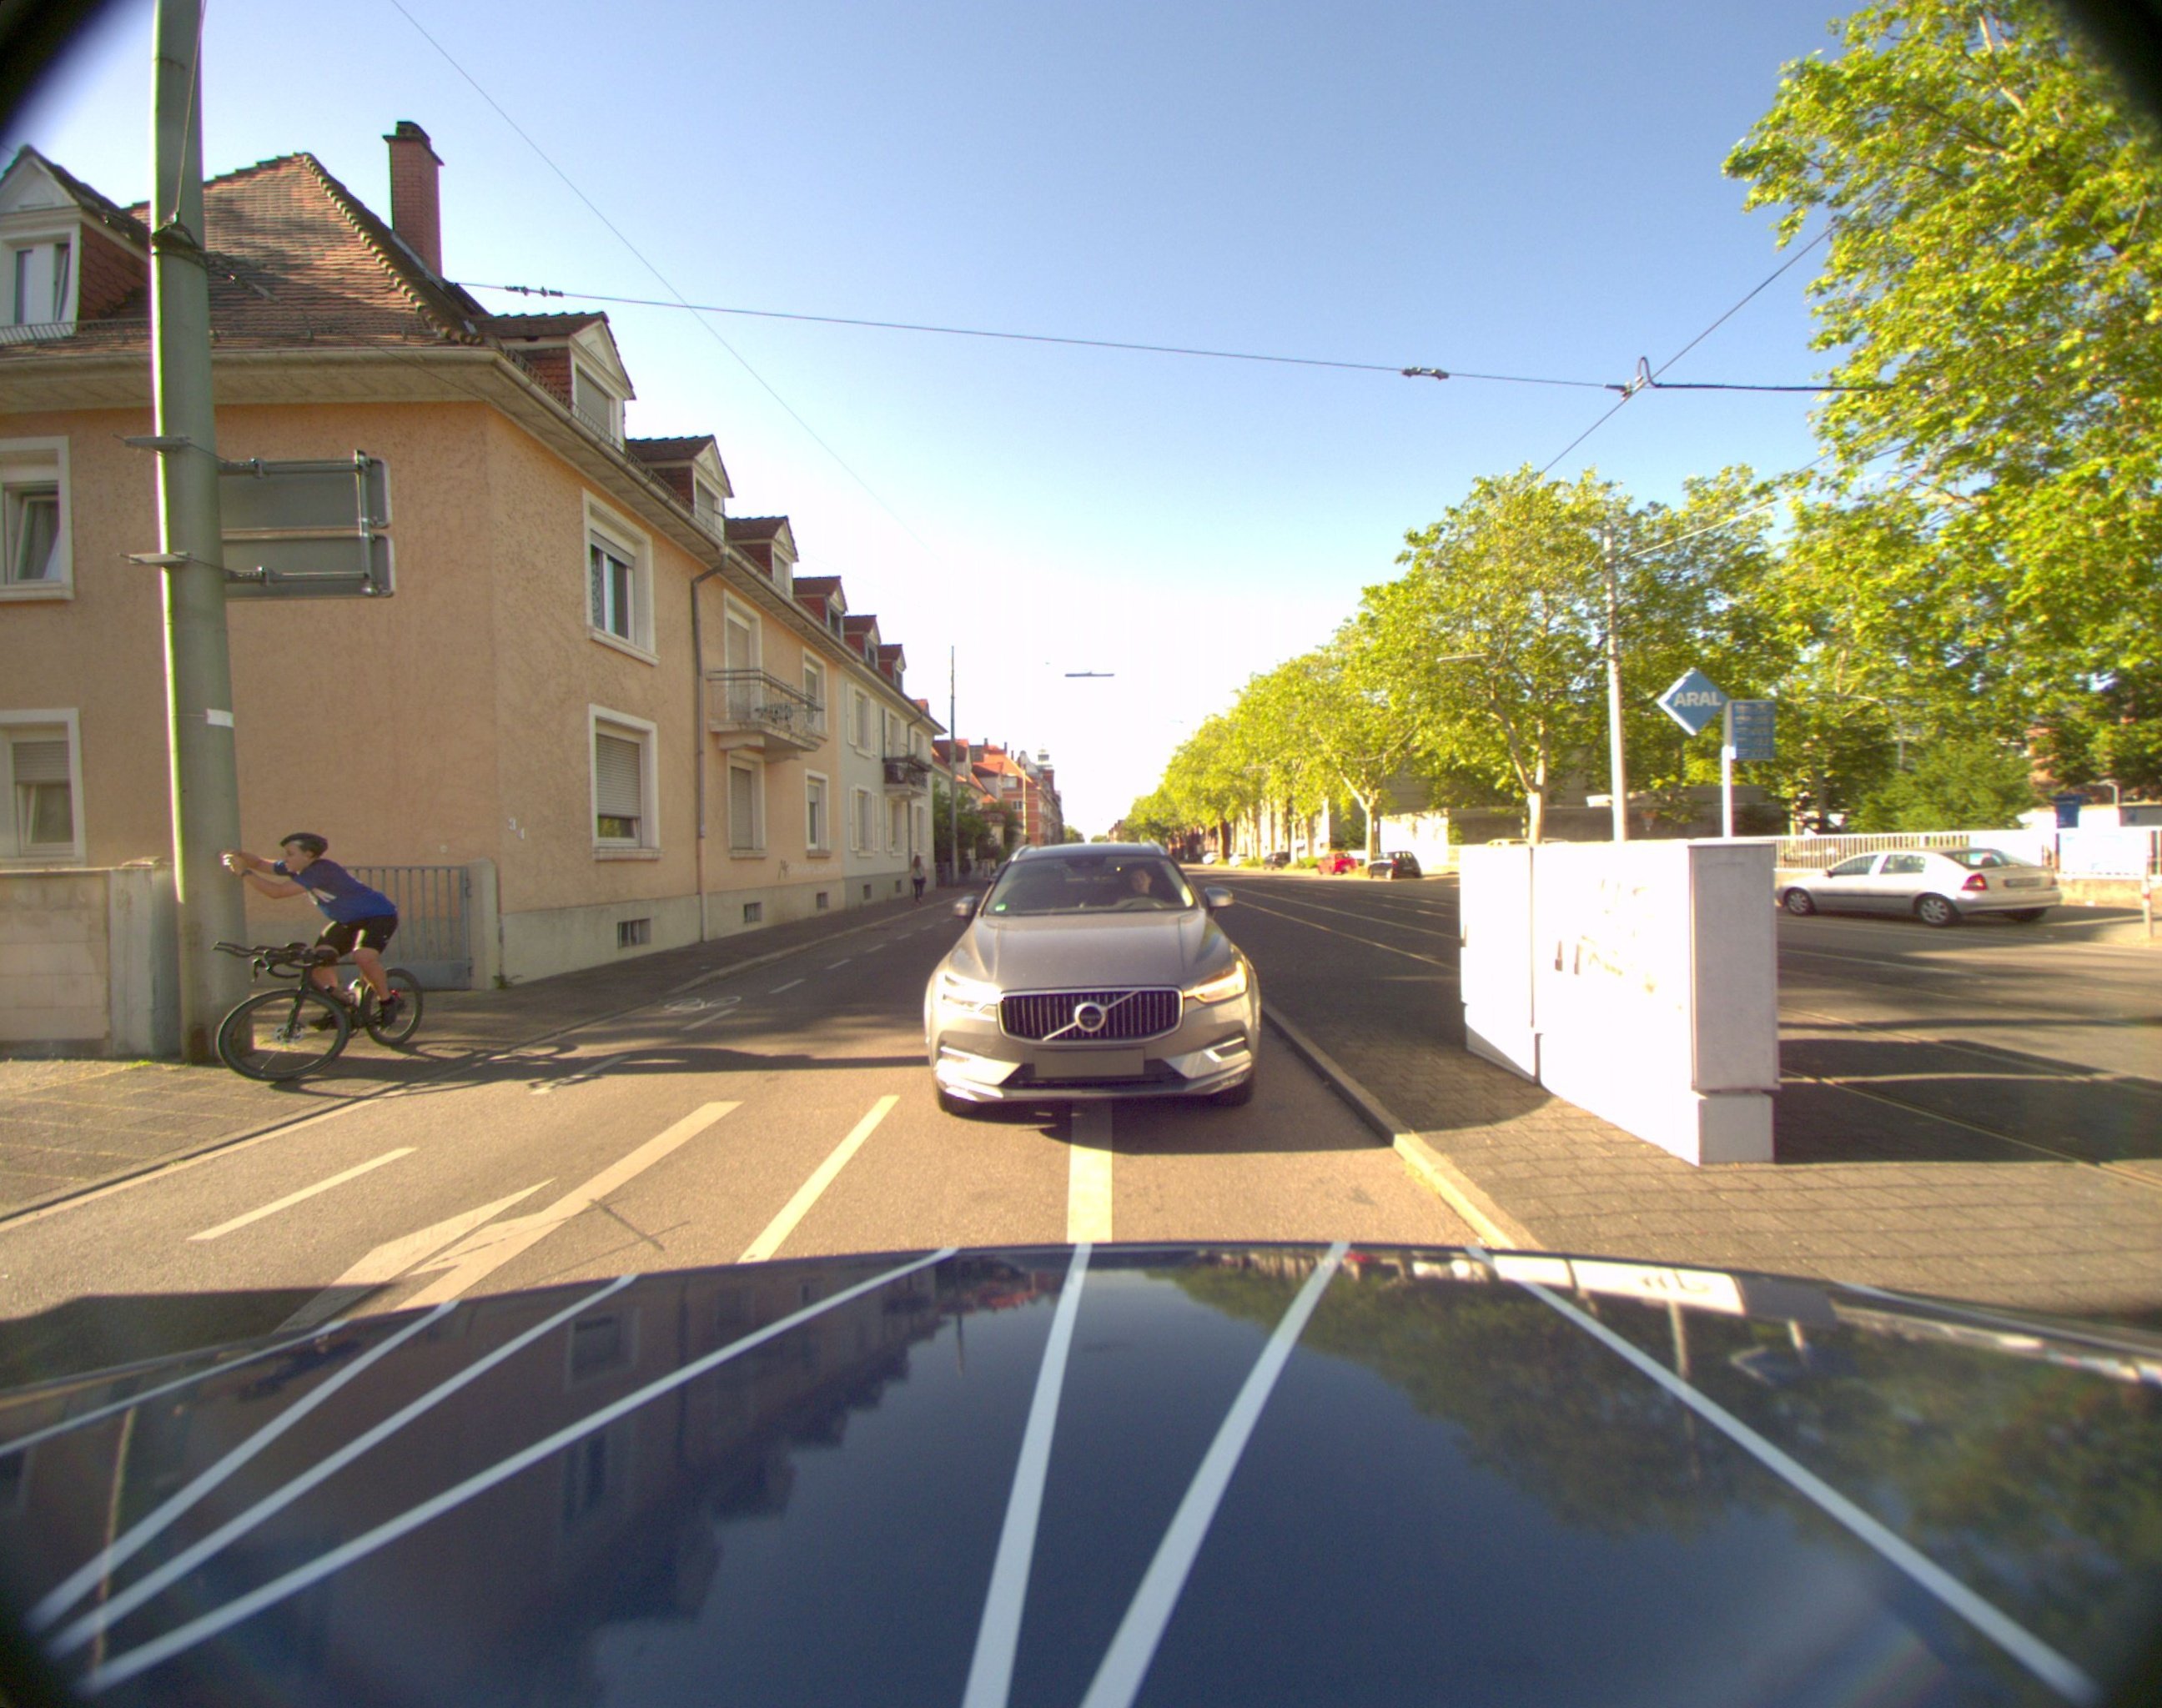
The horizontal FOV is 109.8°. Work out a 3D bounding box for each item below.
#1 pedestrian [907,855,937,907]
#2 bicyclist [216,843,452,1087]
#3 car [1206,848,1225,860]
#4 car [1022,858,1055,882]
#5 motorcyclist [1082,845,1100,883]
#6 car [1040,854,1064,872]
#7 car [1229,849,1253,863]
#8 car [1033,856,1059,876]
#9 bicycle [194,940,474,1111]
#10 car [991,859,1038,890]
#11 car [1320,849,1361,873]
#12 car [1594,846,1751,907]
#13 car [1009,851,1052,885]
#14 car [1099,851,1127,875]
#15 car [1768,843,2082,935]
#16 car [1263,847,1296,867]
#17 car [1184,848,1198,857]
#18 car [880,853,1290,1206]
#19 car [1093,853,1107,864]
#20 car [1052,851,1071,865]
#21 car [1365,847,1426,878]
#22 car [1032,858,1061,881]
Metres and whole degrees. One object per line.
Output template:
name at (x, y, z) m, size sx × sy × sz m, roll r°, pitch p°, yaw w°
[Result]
pedestrian at (-5.287, 0.883, 25.267) m, size 0.694 × 1.652 × 1.098 m, roll -2°, pitch 1°, yaw 0°
bicyclist at (-6.139, 0.860, 6.307) m, size 1.076 × 1.854 × 0.846 m, roll 2°, pitch 1°, yaw 1°
car at (17.753, -0.023, 100.685) m, size 1.802 × 1.504 × 4.000 m, roll -1°, pitch 0°, yaw 1°
car at (-2.669, 0.986, 48.320) m, size 1.785 × 1.346 × 4.000 m, roll -1°, pitch 0°, yaw 1°
motorcyclist at (0.487, 0.475, 37.727) m, size 0.827 × 1.832 × 1.159 m, roll -2°, pitch 1°, yaw 1°
car at (-2.545, 0.760, 66.845) m, size 1.875 × 1.477 × 4.000 m, roll -1°, pitch 0°, yaw 1°
car at (17.564, 0.211, 83.440) m, size 1.802 × 1.489 × 4.000 m, roll -1°, pitch 0°, yaw 1°
car at (-2.736, 0.938, 60.692) m, size 1.785 × 1.468 × 4.000 m, roll -1°, pitch 0°, yaw 1°
bicycle at (-5.934, 1.301, 6.193) m, size 0.572 × 0.986 × 1.698 m, roll 2°, pitch 0°, yaw 1°
car at (-3.198, 0.960, 37.042) m, size 1.647 × 1.357 × 3.868 m, roll -1°, pitch 0°, yaw 4°
car at (16.957, 0.427, 49.763) m, size 1.641 × 1.499 × 3.046 m, roll -1°, pitch 0°, yaw 1°
car at (16.441, 0.571, 21.354) m, size 1.692 × 1.455 × 3.519 m, roll -4°, pitch 0°, yaw 2°
car at (-2.775, 0.711, 42.901) m, size 1.751 × 1.767 × 5.351 m, roll -1°, pitch 0°, yaw 3°
car at (2.159, 0.595, 51.701) m, size 1.762 × 1.513 × 4.101 m, roll -1°, pitch 0°, yaw 1°
car at (16.255, 0.593, 15.005) m, size 1.795 × 1.455 × 3.966 m, roll -4°, pitch 0°, yaw 2°
car at (17.211, 0.277, 66.055) m, size 1.802 × 1.652 × 4.000 m, roll -1°, pitch 0°, yaw 1°
car at (18.219, -0.235, 125.642) m, size 1.802 × 1.504 × 4.000 m, roll -1°, pitch 0°, yaw 1°
car at (0.050, 0.849, 5.817) m, size 1.940 × 1.650 × 4.321 m, roll -1°, pitch 0°, yaw 1°
car at (2.767, 0.616, 111.963) m, size 1.998 × 1.543 × 4.000 m, roll -1°, pitch 0°, yaw 1°
car at (-2.185, 0.441, 85.507) m, size 1.875 × 1.477 × 4.000 m, roll -1°, pitch 0°, yaw 1°
car at (16.895, 0.415, 40.994) m, size 1.826 × 1.521 × 3.653 m, roll -2°, pitch 0°, yaw 1°
car at (-2.452, 1.079, 54.456) m, size 1.785 × 1.468 × 4.000 m, roll -1°, pitch 0°, yaw 1°
